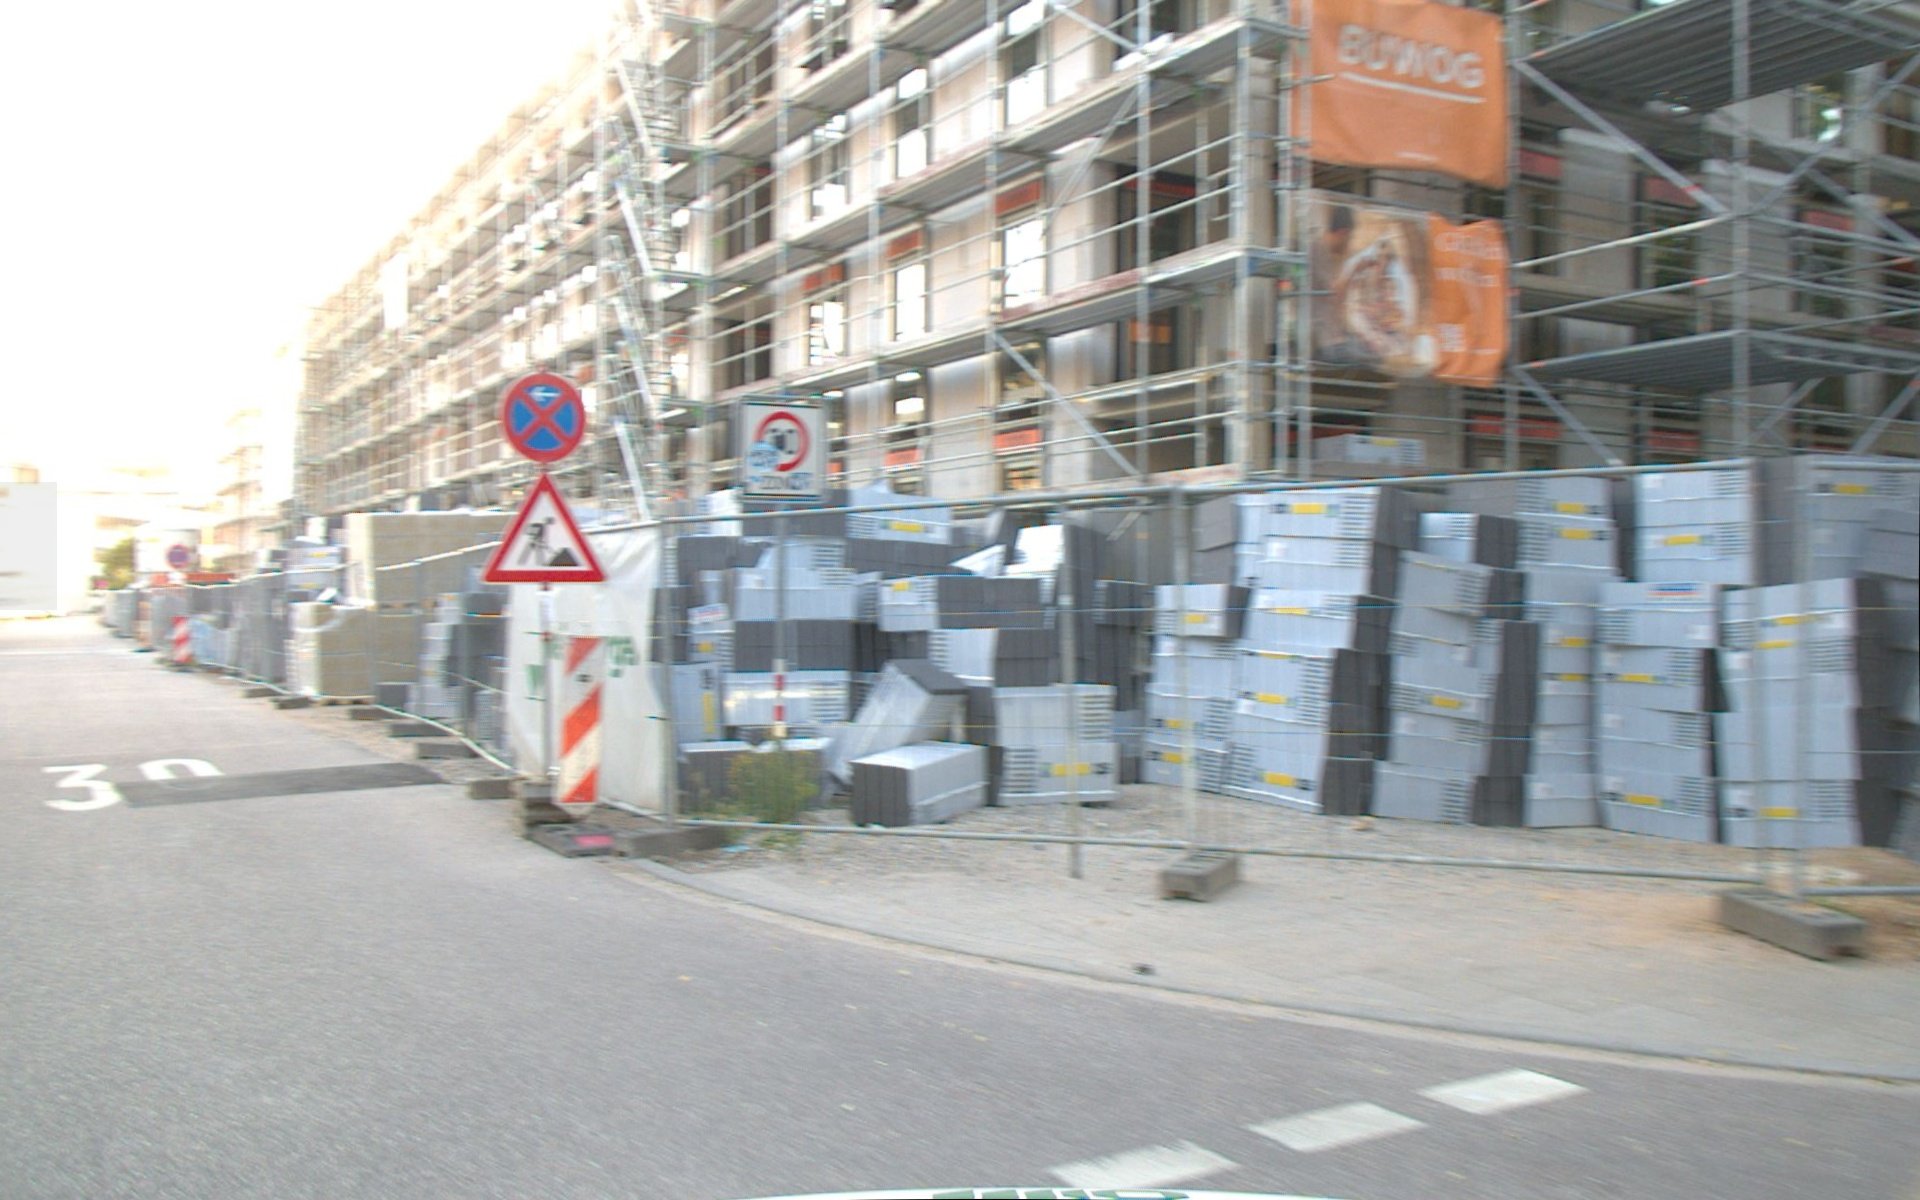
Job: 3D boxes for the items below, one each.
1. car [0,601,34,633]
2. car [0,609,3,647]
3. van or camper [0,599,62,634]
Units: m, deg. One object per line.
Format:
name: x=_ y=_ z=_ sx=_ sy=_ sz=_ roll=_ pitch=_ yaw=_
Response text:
car: x=-78.507 y=1.383 z=133.918 sx=5.833 sy=2.534 sz=1.989 roll=0 pitch=-1 yaw=-19
car: x=-72.816 y=2.053 z=119.467 sx=6.260 sy=2.789 sz=1.980 roll=0 pitch=-1 yaw=-30
van or camper: x=-83.273 y=1.460 z=146.414 sx=6.233 sy=3.031 sz=2.281 roll=1 pitch=-1 yaw=-18
